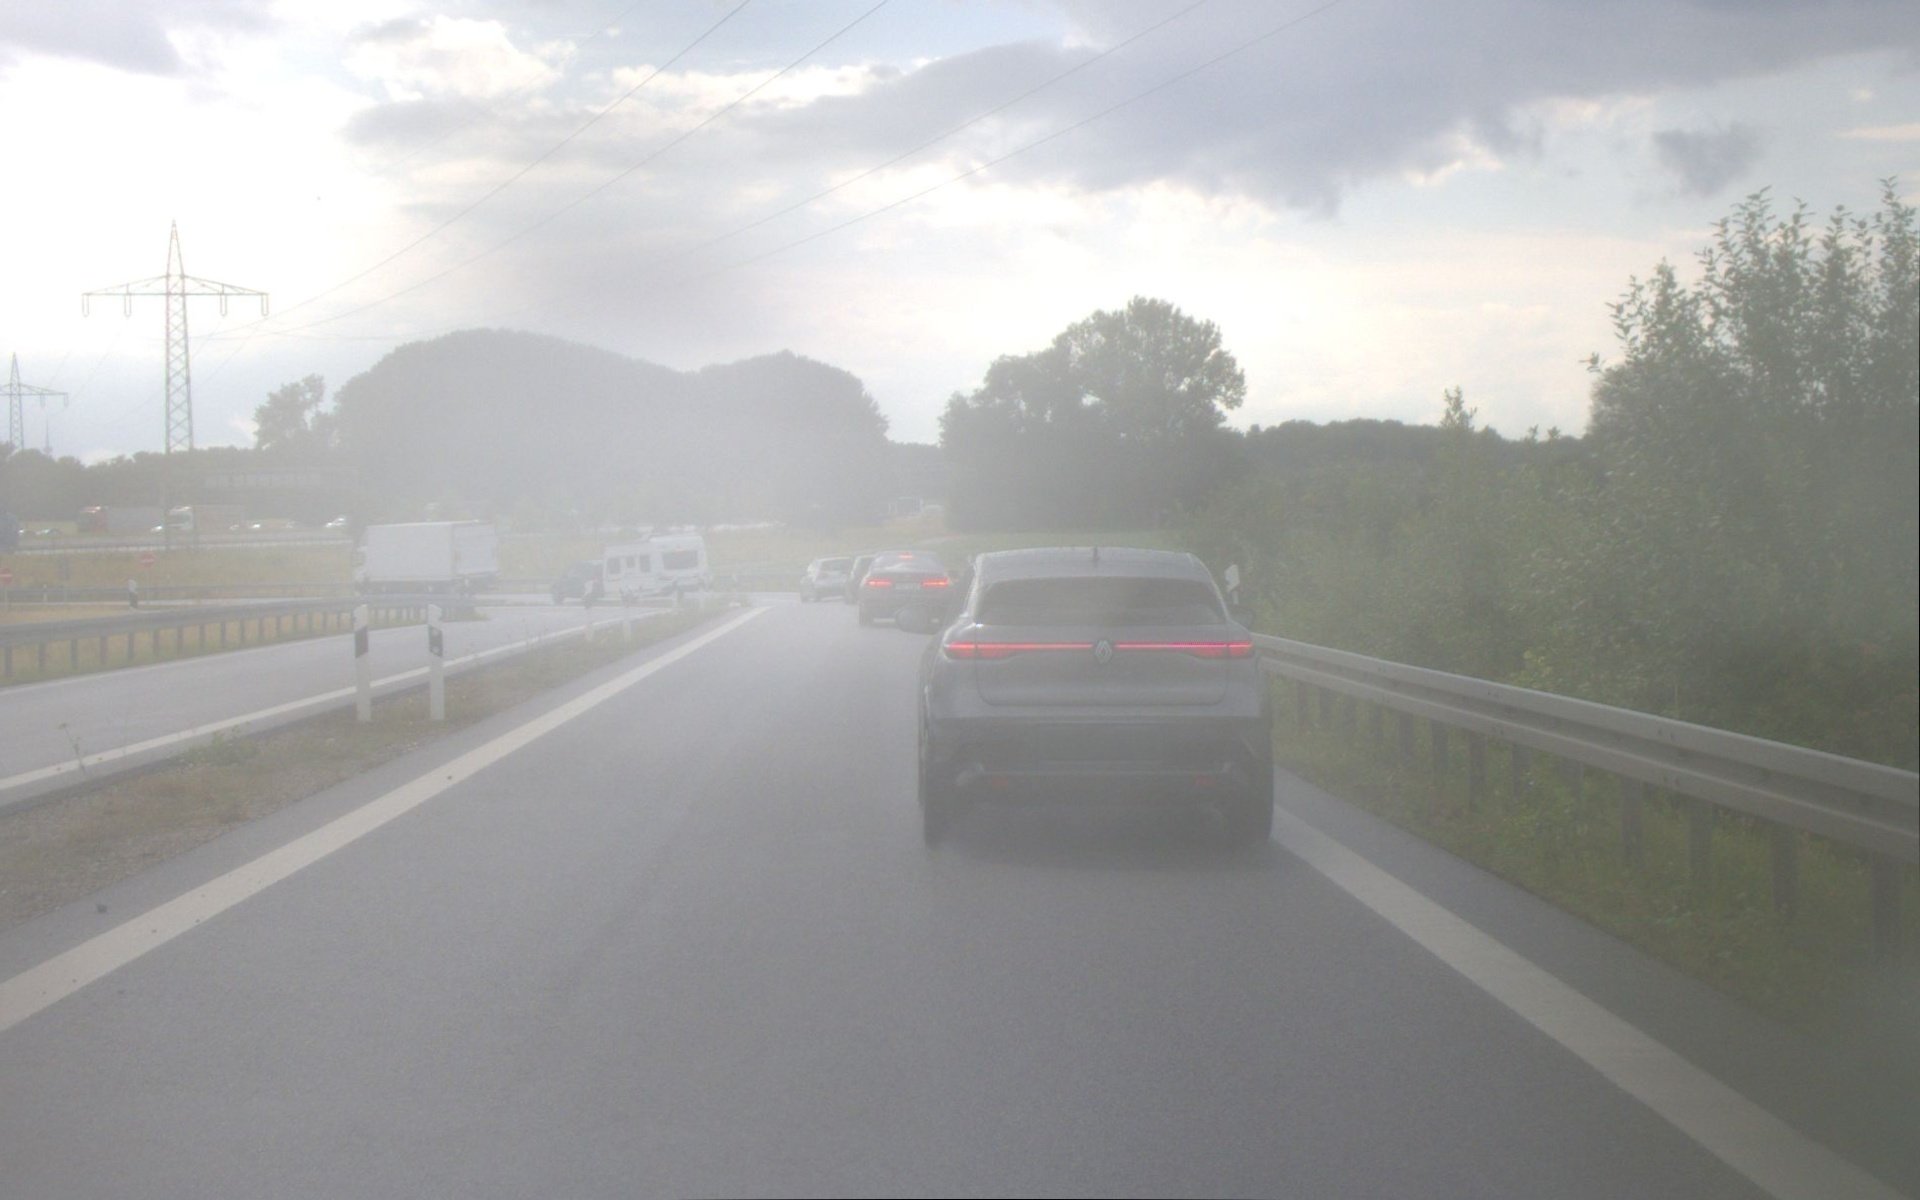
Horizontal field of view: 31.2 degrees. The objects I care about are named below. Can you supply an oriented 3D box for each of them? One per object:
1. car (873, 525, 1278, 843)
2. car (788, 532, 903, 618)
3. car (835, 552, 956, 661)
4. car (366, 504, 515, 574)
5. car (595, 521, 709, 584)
[{"bbox_3d":[0.606,0.371,19.061,1.993,1.561,4.149,0,1,1],"label":"car"},{"bbox_3d":[-3.485,-0.782,103.365,2.350,2.299,5.131,-2,4,-15],"label":"car"},{"bbox_3d":[-1.351,0.087,69.806,2.121,2.011,5.535,-1,2,-4],"label":"car"},{"bbox_3d":[-23.804,-2.836,157.230,3.138,2.941,7.205,-4,5,-43],"label":"car"},{"bbox_3d":[-12.397,-1.923,138.091,2.352,2.299,5.128,-3,4,-34],"label":"car"}]
